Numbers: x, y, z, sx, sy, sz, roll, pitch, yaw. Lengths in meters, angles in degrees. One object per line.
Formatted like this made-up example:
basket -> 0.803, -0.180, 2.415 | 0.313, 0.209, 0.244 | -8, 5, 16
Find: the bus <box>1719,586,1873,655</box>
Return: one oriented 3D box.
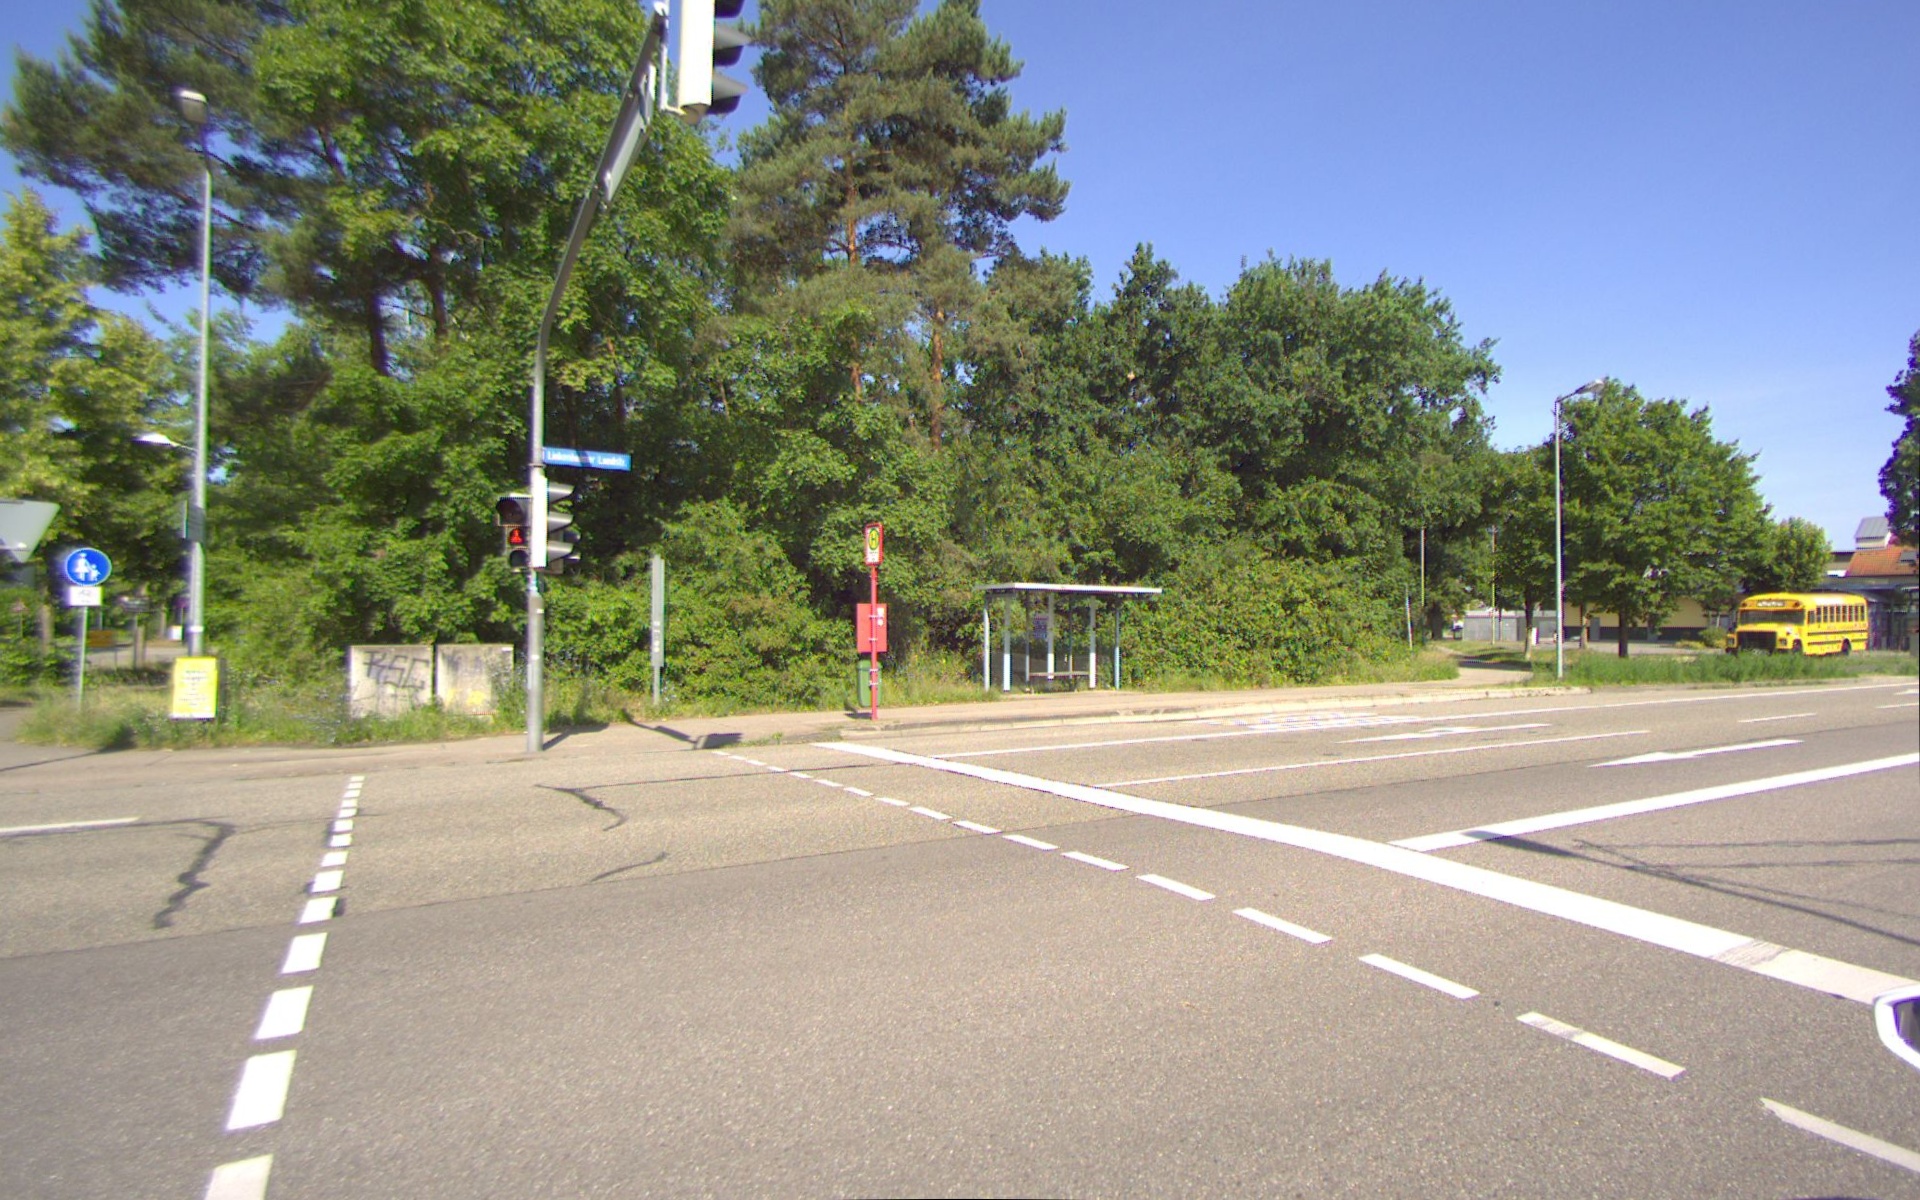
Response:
bus -> 36.129, 0.914, 43.285 | 8.900, 2.715, 2.564 | 2, 0, -33
